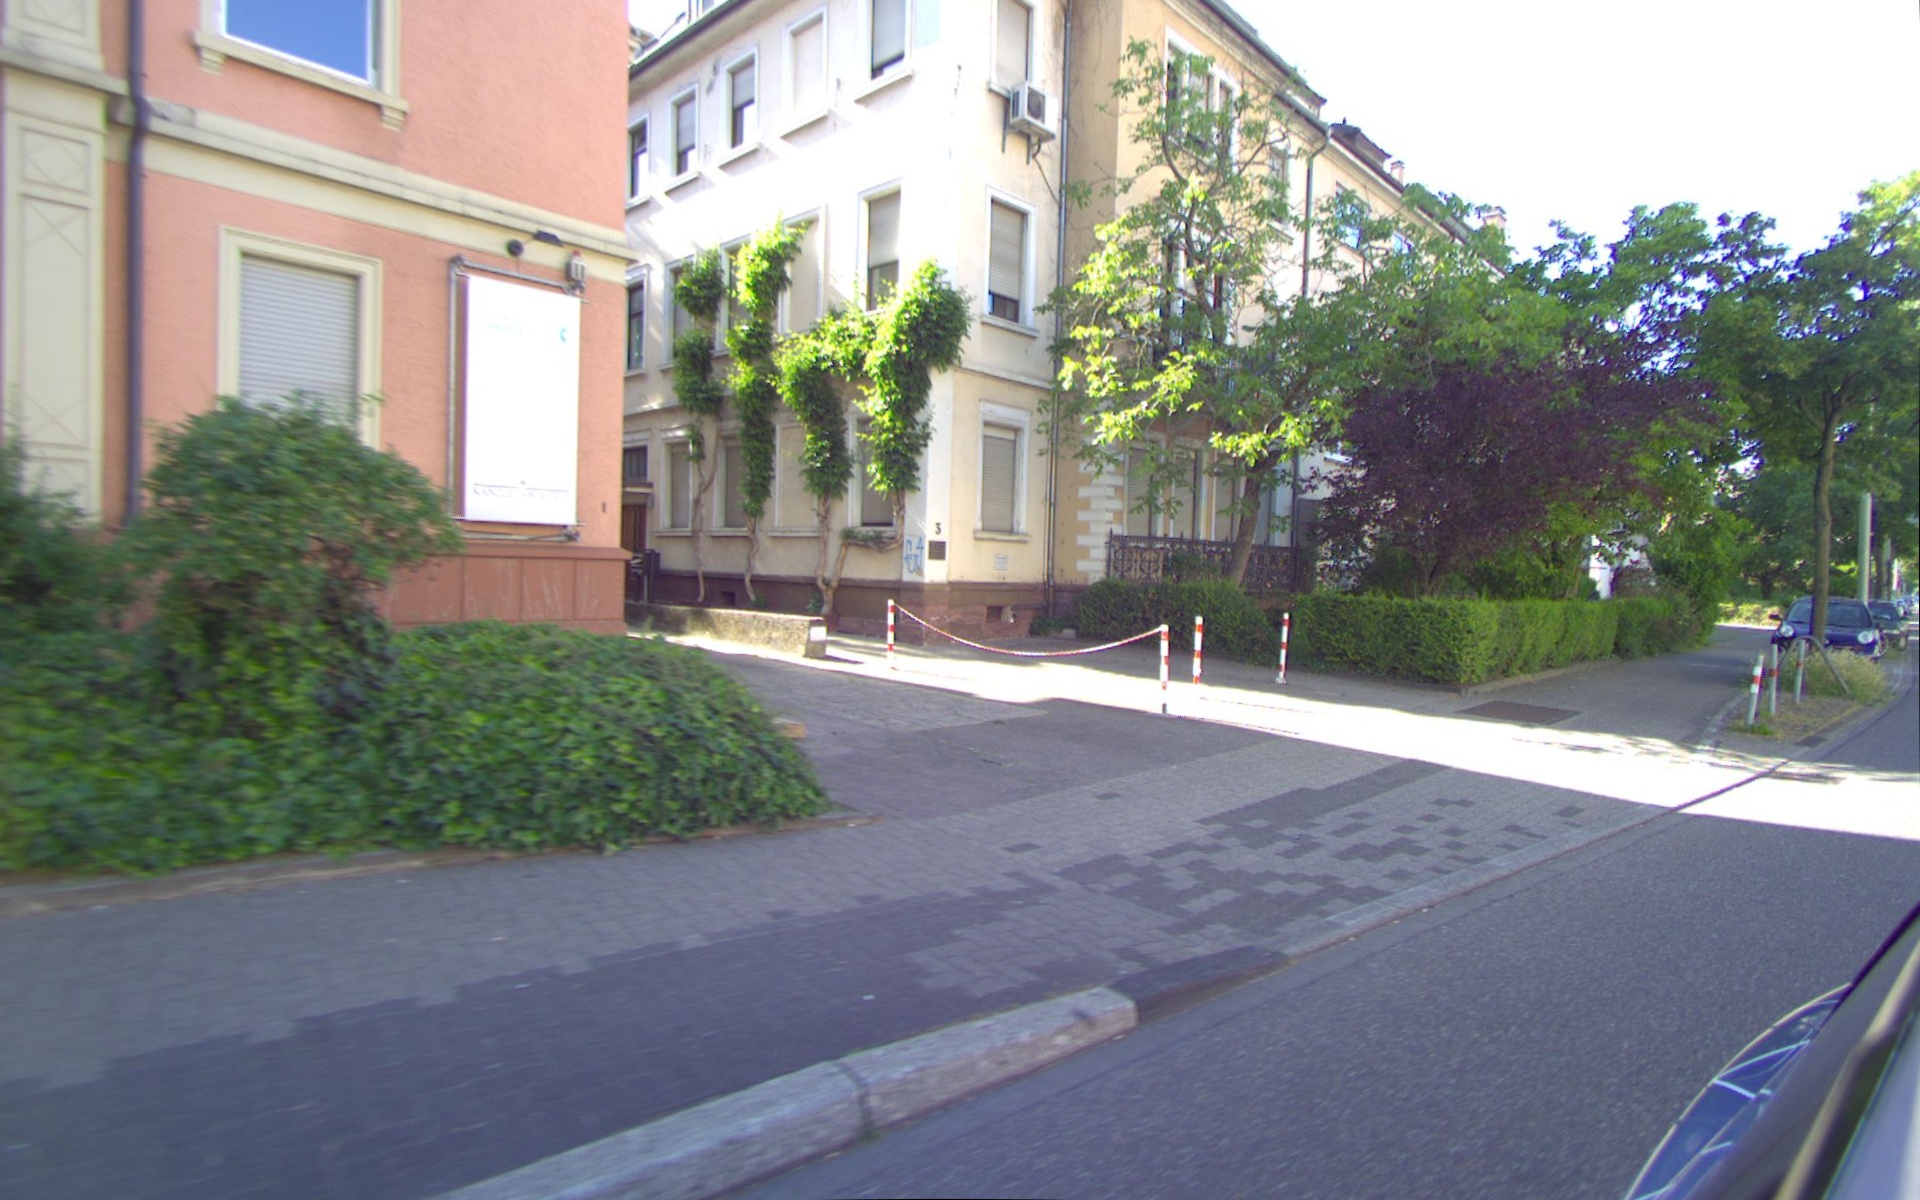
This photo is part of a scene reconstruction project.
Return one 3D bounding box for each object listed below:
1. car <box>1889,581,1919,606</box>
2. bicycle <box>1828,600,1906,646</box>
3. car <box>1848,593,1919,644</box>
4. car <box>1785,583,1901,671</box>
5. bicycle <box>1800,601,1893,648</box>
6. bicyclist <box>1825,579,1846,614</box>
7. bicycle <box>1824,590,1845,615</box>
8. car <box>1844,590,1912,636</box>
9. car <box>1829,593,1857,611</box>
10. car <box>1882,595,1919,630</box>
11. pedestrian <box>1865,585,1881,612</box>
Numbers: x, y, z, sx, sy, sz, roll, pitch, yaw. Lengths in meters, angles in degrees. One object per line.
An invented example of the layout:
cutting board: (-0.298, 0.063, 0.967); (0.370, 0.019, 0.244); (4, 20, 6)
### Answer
car: (70.509, -0.488, 75.368); (1.769, 1.679, 4.275); (5, 3, 42)
bicycle: (26.072, 0.648, 29.108); (1.639, 1.252, 0.471); (2, 1, 6)
car: (28.843, 0.534, 31.433); (1.613, 1.400, 3.912); (4, 3, 44)
car: (17.999, 0.482, 20.642); (1.559, 1.533, 3.599); (6, 4, 42)
bicycle: (23.434, 0.635, 26.784); (0.515, 1.033, 1.745); (-2, 6, -38)
bicyclist: (46.390, -0.173, 53.623); (0.724, 1.815, 0.999); (5, 3, 44)
bicycle: (46.369, 0.113, 53.639); (0.698, 1.262, 1.793); (5, 3, 44)
car: (33.819, 0.434, 37.329); (1.714, 1.507, 4.169); (4, 3, 42)
car: (75.687, 0.130, 86.737); (1.533, 1.372, 3.659); (7, 5, 43)
car: (41.830, 0.538, 44.493); (1.693, 1.445, 4.080); (4, 3, 45)
pedestrian: (58.573, -0.111, 64.947); (0.670, 1.703, 0.763); (4, 3, 44)
